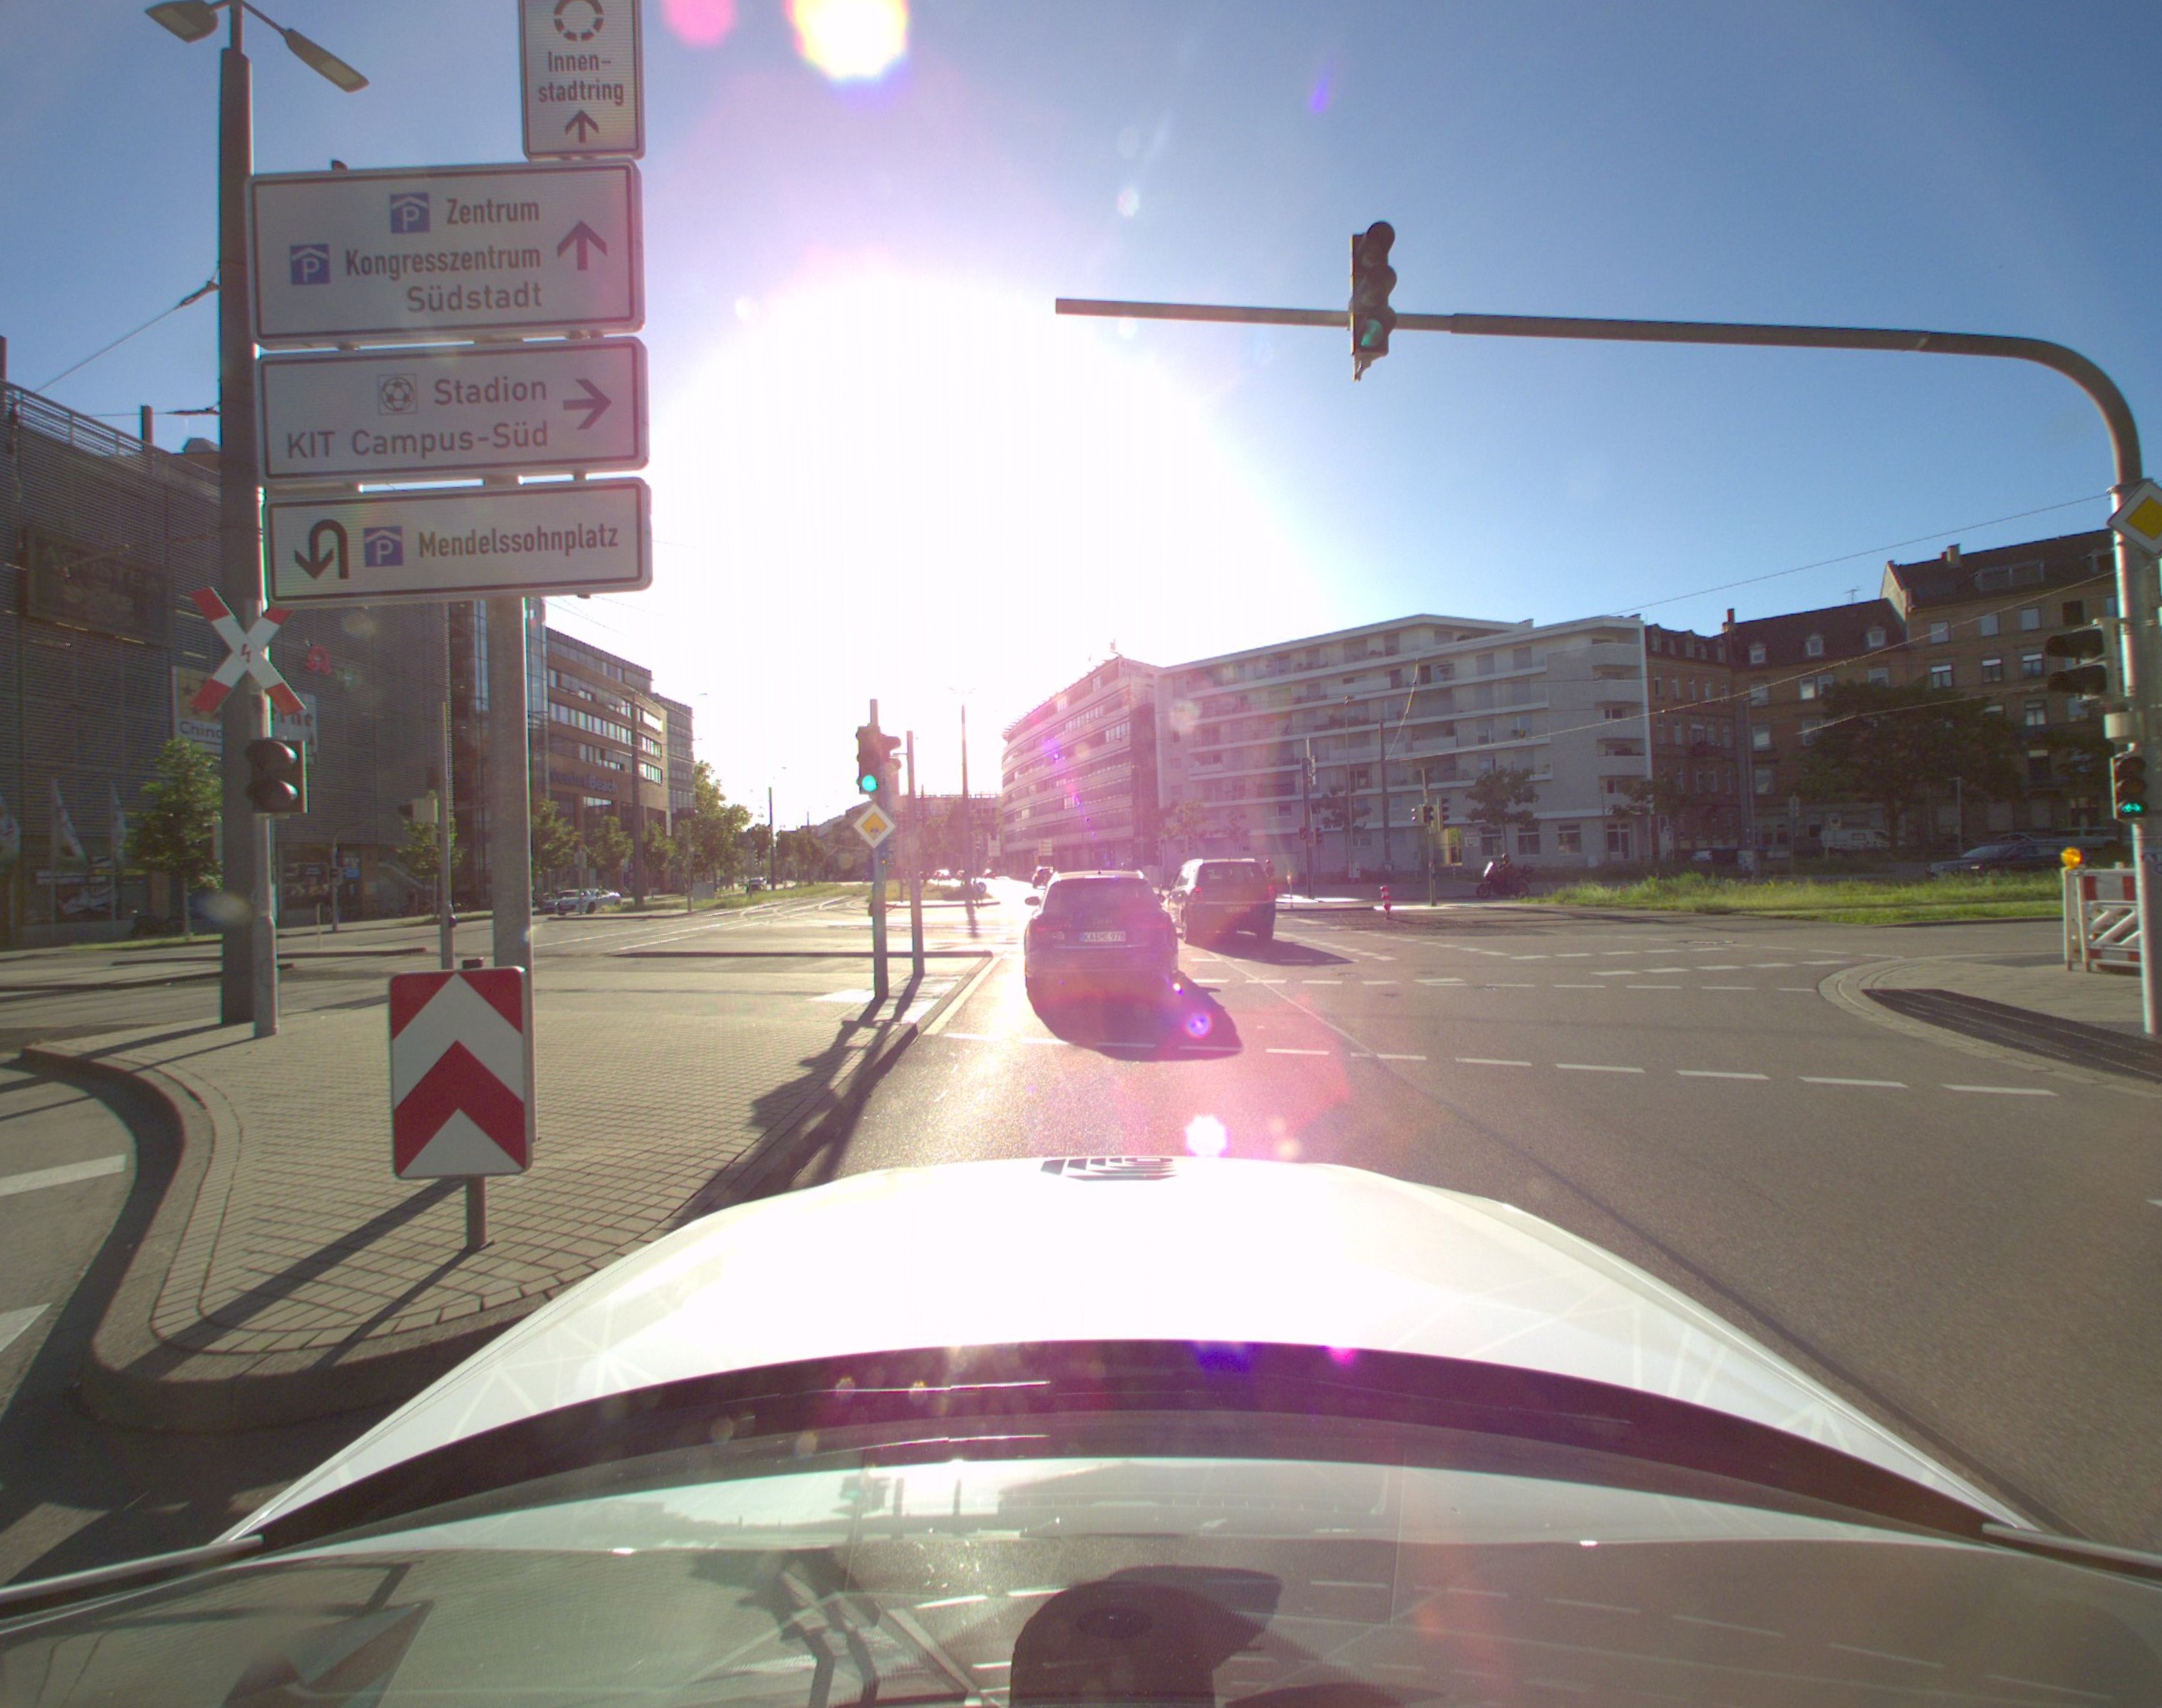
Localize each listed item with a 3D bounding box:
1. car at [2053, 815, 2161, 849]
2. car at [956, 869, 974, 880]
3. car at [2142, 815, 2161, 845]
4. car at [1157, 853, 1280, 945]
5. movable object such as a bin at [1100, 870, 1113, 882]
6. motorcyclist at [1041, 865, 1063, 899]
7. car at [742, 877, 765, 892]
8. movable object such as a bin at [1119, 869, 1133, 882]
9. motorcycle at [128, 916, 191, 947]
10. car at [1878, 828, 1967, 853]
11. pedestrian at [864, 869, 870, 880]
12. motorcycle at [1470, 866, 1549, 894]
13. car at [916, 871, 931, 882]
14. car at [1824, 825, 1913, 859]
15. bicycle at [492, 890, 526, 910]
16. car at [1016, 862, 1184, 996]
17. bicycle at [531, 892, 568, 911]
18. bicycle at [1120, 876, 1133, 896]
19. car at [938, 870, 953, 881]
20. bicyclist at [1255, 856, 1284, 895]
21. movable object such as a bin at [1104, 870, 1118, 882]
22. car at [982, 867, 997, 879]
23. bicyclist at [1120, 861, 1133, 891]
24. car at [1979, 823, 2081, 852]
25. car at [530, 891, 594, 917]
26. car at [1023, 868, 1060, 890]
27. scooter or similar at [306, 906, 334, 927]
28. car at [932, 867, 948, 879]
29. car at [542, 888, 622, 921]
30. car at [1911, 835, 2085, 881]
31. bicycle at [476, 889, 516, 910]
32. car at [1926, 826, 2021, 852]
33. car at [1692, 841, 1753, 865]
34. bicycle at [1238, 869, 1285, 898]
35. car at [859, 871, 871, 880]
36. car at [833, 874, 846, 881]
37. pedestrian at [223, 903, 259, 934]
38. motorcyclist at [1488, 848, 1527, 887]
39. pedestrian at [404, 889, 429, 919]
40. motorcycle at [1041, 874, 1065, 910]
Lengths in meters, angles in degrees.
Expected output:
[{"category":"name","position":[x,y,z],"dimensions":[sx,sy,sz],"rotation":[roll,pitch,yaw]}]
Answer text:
[{"category":"car","position":[60.854,-1.266,48.290],"dimensions":[1.981,1.772,4.012],"rotation":[-3,-2,11]},{"category":"car","position":[-17.509,3.115,122.755],"dimensions":[1.998,1.596,3.976],"rotation":[-2,-2,-17]},{"category":"car","position":[65.705,-1.499,48.199],"dimensions":[1.974,1.772,4.024],"rotation":[-4,-2,28]},{"category":"car","position":[2.742,0.863,17.200],"dimensions":[1.741,1.696,4.256],"rotation":[0,-1,-2]},{"category":"movable object such as a bin","position":[2.897,2.587,94.053],"dimensions":[1.065,1.332,1.115],"rotation":[-2,-2,-26]},{"category":"motorcyclist","position":[-1.183,1.141,33.328],"dimensions":[0.860,1.326,0.681],"rotation":[-2,-1,-1]},{"category":"car","position":[-37.398,3.457,93.165],"dimensions":[1.998,1.640,4.387],"rotation":[-2,-1,-16]},{"category":"movable object such as a bin","position":[4.972,2.338,89.818],"dimensions":[1.065,1.332,1.115],"rotation":[-2,-2,-26]},{"category":"motorcycle","position":[-42.092,3.524,37.231],"dimensions":[0.673,1.238,1.894],"rotation":[-3,-2,1]},{"category":"car","position":[53.936,-0.826,52.317],"dimensions":[1.981,1.354,4.012],"rotation":[-3,-2,11]},{"category":"pedestrian","position":[-36.235,3.501,137.682],"dimensions":[0.904,1.825,0.825],"rotation":[-3,-2,-15]},{"category":"motorcycle","position":[16.765,0.999,31.913],"dimensions":[2.440,1.000,1.173],"rotation":[-2,-1,5]},{"category":"car","position":[-25.261,3.631,130.514],"dimensions":[1.998,1.706,3.977],"rotation":[-2,-2,-16]},{"category":"car","position":[58.493,-0.870,60.646],"dimensions":[4.543,2.311,2.013],"rotation":[-3,-2,40]},{"category":"bicycle","position":[-43.885,3.522,62.474],"dimensions":[2.070,1.433,0.863],"rotation":[-3,-2,10]},{"category":"car","position":[0.269,0.845,10.955],"dimensions":[1.835,1.454,4.001],"rotation":[0,-1,1]},{"category":"bicycle","position":[-43.706,3.910,66.982],"dimensions":[2.546,1.433,0.907],"rotation":[-3,-2,10]},{"category":"bicycle","position":[2.558,1.800,45.751],"dimensions":[0.651,1.043,1.932],"rotation":[-2,0,5]},{"category":"car","position":[-20.789,3.314,125.180],"dimensions":[1.996,1.596,3.981],"rotation":[-3,-2,-13]},{"category":"bicyclist","position":[8.451,0.964,36.494],"dimensions":[0.771,1.706,0.920],"rotation":[-1,-2,-34]},{"category":"movable object such as a bin","position":[3.421,2.526,92.988],"dimensions":[1.065,1.332,1.115],"rotation":[-2,-2,-26]},{"category":"car","position":[-15.177,3.183,135.138],"dimensions":[1.996,1.838,3.981],"rotation":[-3,-2,-13]},{"category":"bicyclist","position":[2.576,1.213,45.758],"dimensions":[0.651,1.642,0.973],"rotation":[-2,-1,5]},{"category":"car","position":[58.254,-0.977,50.102],"dimensions":[1.981,1.486,4.012],"rotation":[-3,-2,11]},{"category":"car","position":[-34.003,3.277,53.464],"dimensions":[1.892,1.407,3.991],"rotation":[-3,0,-7]},{"category":"car","position":[-3.293,2.057,67.709],"dimensions":[2.008,1.715,4.346],"rotation":[0,-1,-18]},{"category":"scooter or similar","position":[-43.178,3.522,46.216],"dimensions":[0.419,1.110,1.153],"rotation":[-3,-2,3]},{"category":"car","position":[-22.645,3.099,130.898],"dimensions":[1.998,1.706,3.977],"rotation":[-2,-2,-16]},{"category":"car","position":[-28.123,2.815,46.076],"dimensions":[1.990,1.546,4.522],"rotation":[-2,-1,-5]},{"category":"car","position":[32.965,0.166,29.363],"dimensions":[4.229,1.401,1.768],"rotation":[-2,-4,-2]},{"category":"bicycle","position":[-44.090,3.415,61.407],"dimensions":[2.355,1.433,1.079],"rotation":[-3,-2,10]},{"category":"car","position":[56.142,-0.919,51.317],"dimensions":[1.981,1.354,4.012],"rotation":[-3,-2,11]},{"category":"car","position":[46.629,-0.066,59.176],"dimensions":[4.010,1.486,1.982],"rotation":[-2,-2,-28]},{"category":"bicycle","position":[8.172,1.355,36.896],"dimensions":[0.771,1.262,2.059],"rotation":[-1,-1,-34]},{"category":"car","position":[-48.273,4.837,182.340],"dimensions":[1.992,1.706,3.989],"rotation":[-3,-2,-7]},{"category":"car","position":[-60.988,6.052,205.671],"dimensions":[2.006,1.640,4.368],"rotation":[-1,-1,-30]},{"category":"pedestrian","position":[-44.545,3.424,43.196],"dimensions":[0.984,1.566,0.829],"rotation":[-3,-2,1]},{"category":"motorcyclist","position":[16.700,0.532,31.921],"dimensions":[0.920,1.481,1.173],"rotation":[-2,-1,6]},{"category":"pedestrian","position":[-42.679,3.196,52.297],"dimensions":[0.823,1.825,0.905],"rotation":[-3,-2,3]},{"category":"motorcycle","position":[-1.127,1.529,33.334],"dimensions":[0.860,1.393,1.893],"rotation":[-2,-1,-1]}]
